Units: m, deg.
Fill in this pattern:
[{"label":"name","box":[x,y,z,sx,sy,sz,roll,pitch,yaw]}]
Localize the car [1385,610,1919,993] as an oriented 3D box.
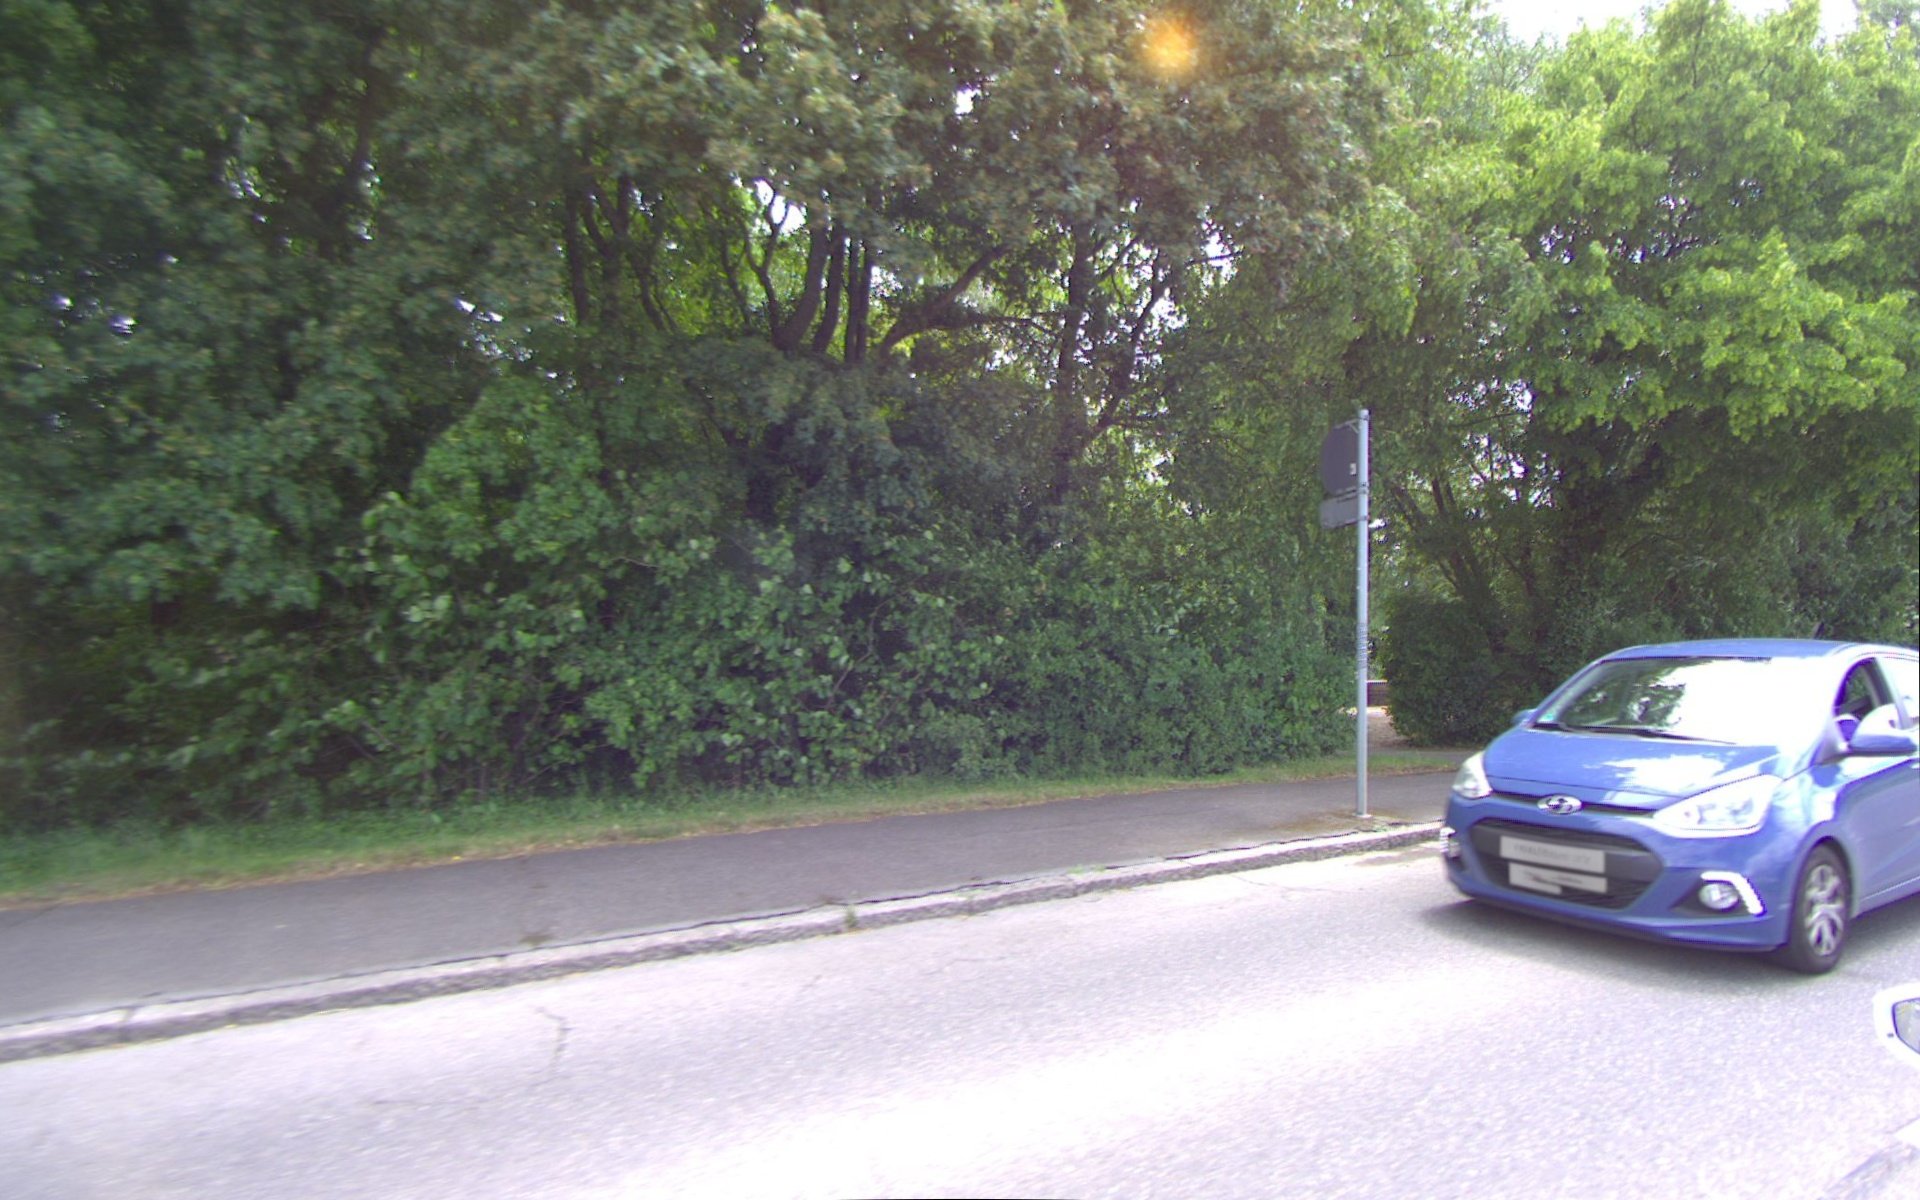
[{"label":"car","box":[4.418,0.909,5.786,3.780,1.548,1.699,2,-4,-30]}]
